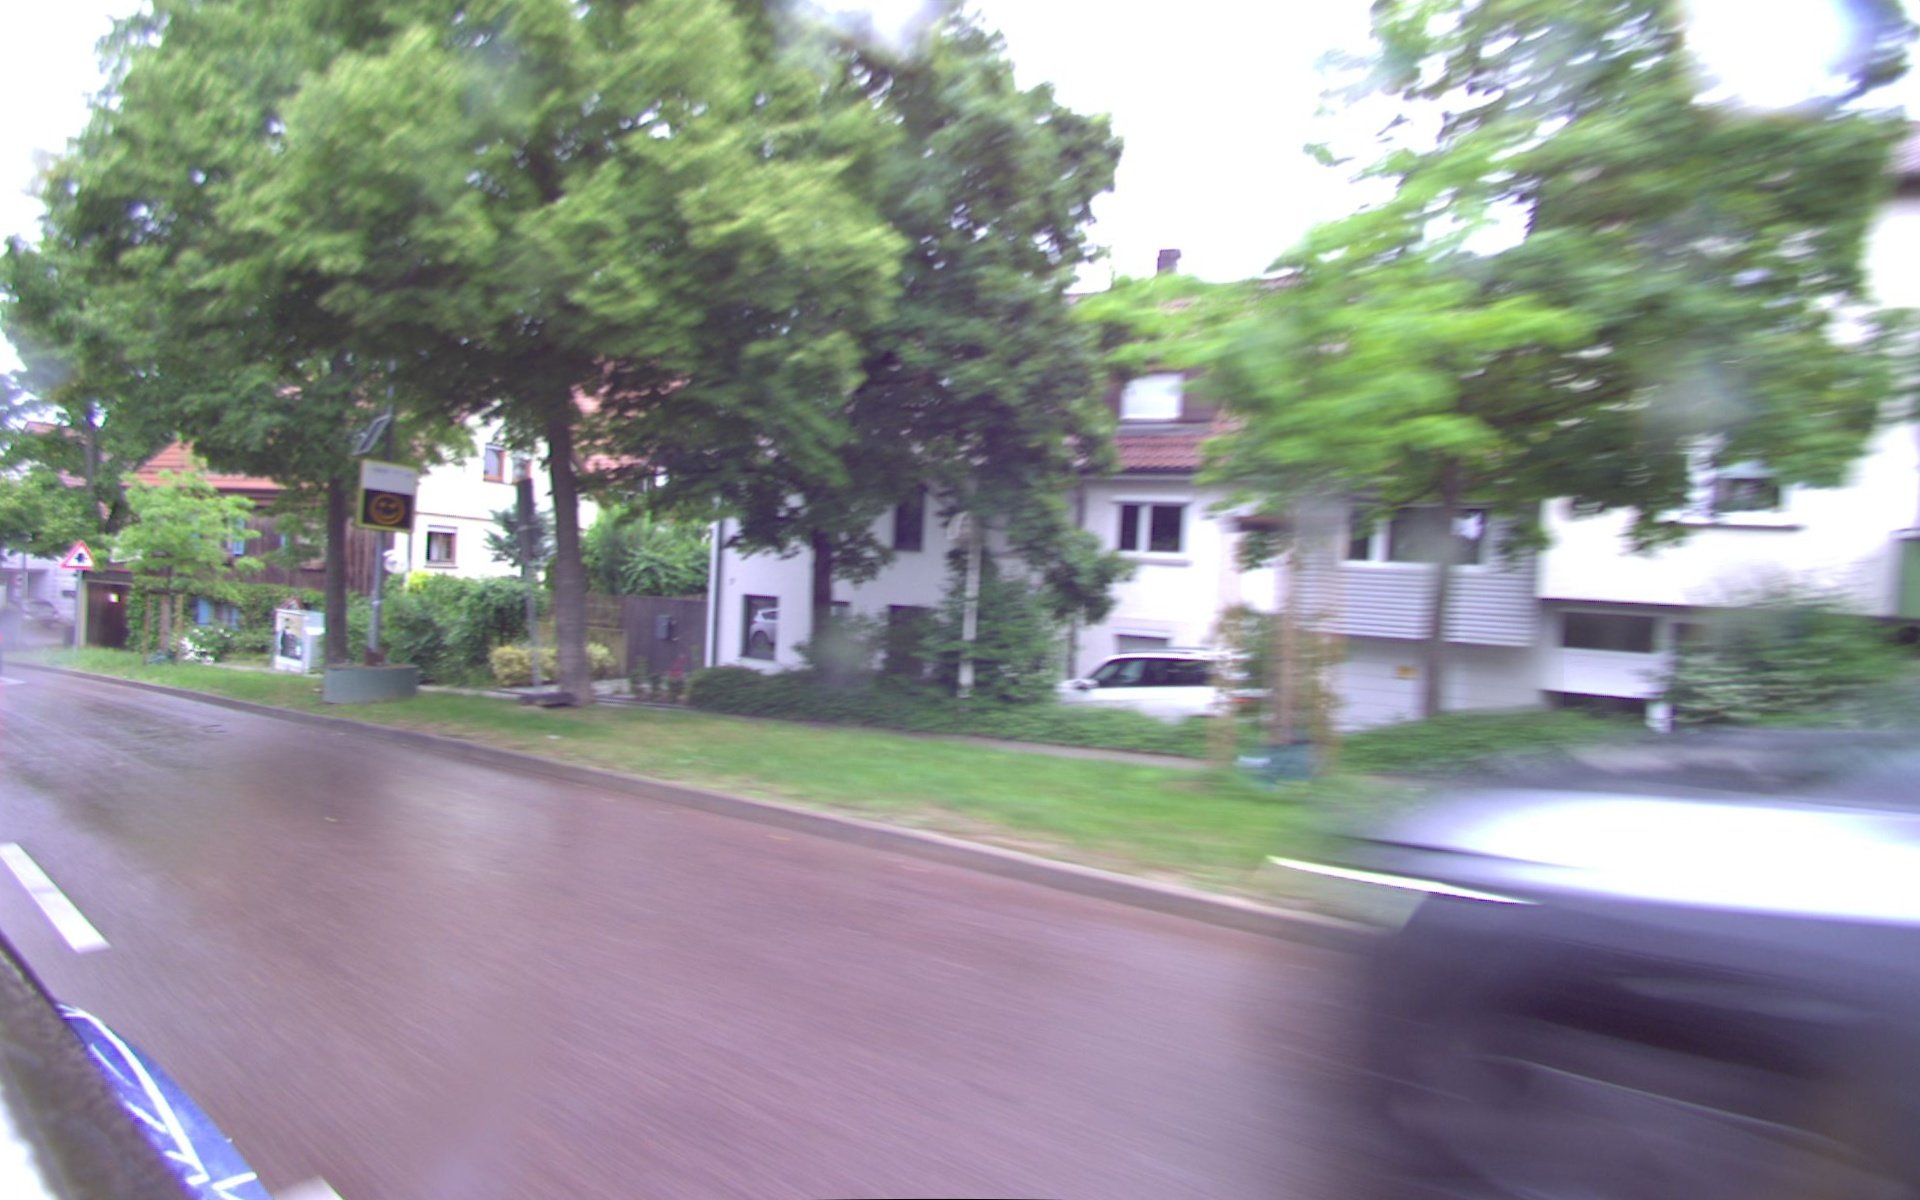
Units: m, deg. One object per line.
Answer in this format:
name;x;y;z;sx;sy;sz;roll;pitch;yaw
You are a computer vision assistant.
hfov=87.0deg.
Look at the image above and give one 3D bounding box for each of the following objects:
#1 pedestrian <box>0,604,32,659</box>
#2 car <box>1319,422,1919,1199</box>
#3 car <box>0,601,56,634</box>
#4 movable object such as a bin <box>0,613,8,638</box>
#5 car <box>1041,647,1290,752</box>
pedestrian;-32.248;1.053;34.313;0.892;1.844;0.960;-1;-1;32
car;2.952;0.579;1.302;4.373;1.701;1.733;-1;-1;40
car;-45.938;0.853;48.676;3.961;1.544;1.719;0;-1;14
movable object such as a bin;-44.236;1.182;46.513;0.513;1.132;0.527;-1;-1;15
car;3.200;1.454;15.675;3.428;1.339;1.983;-1;-1;26
